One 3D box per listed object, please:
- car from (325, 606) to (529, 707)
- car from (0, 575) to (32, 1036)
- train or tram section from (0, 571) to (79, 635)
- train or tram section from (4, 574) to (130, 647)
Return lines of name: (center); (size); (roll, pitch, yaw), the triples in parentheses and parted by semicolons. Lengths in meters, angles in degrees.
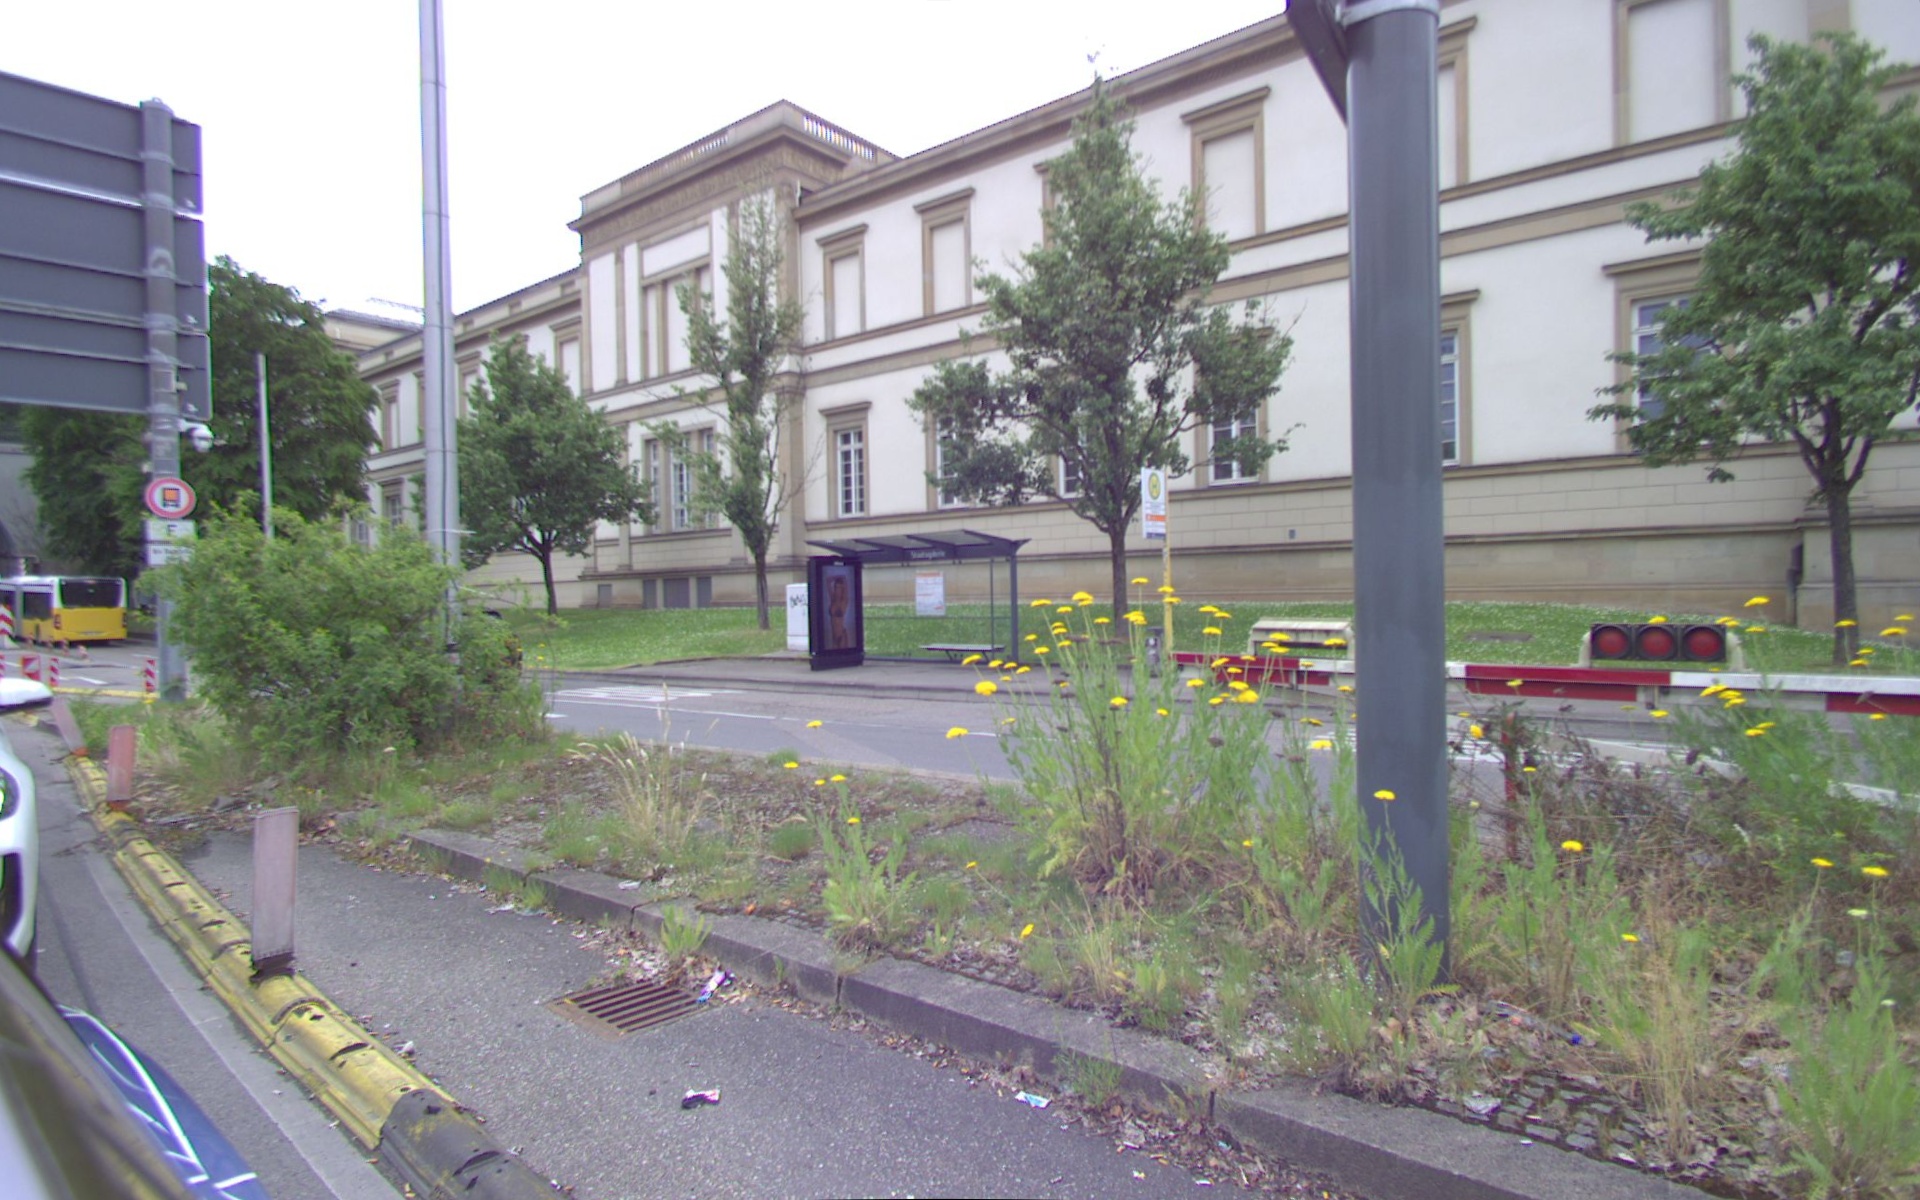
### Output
car: (-9.935, 0.951, 18.727); (4.368, 1.638, 1.861); (-1, 0, 40)
car: (-5.229, 0.724, 4.199); (3.911, 1.568, 1.733); (-1, 0, 43)
train or tram section: (-48.423, 0.255, 52.225); (9.363, 3.094, 2.668); (-1, -2, 38)
train or tram section: (-41.074, 0.550, 46.438); (9.323, 3.094, 2.668); (-1, -2, 38)
